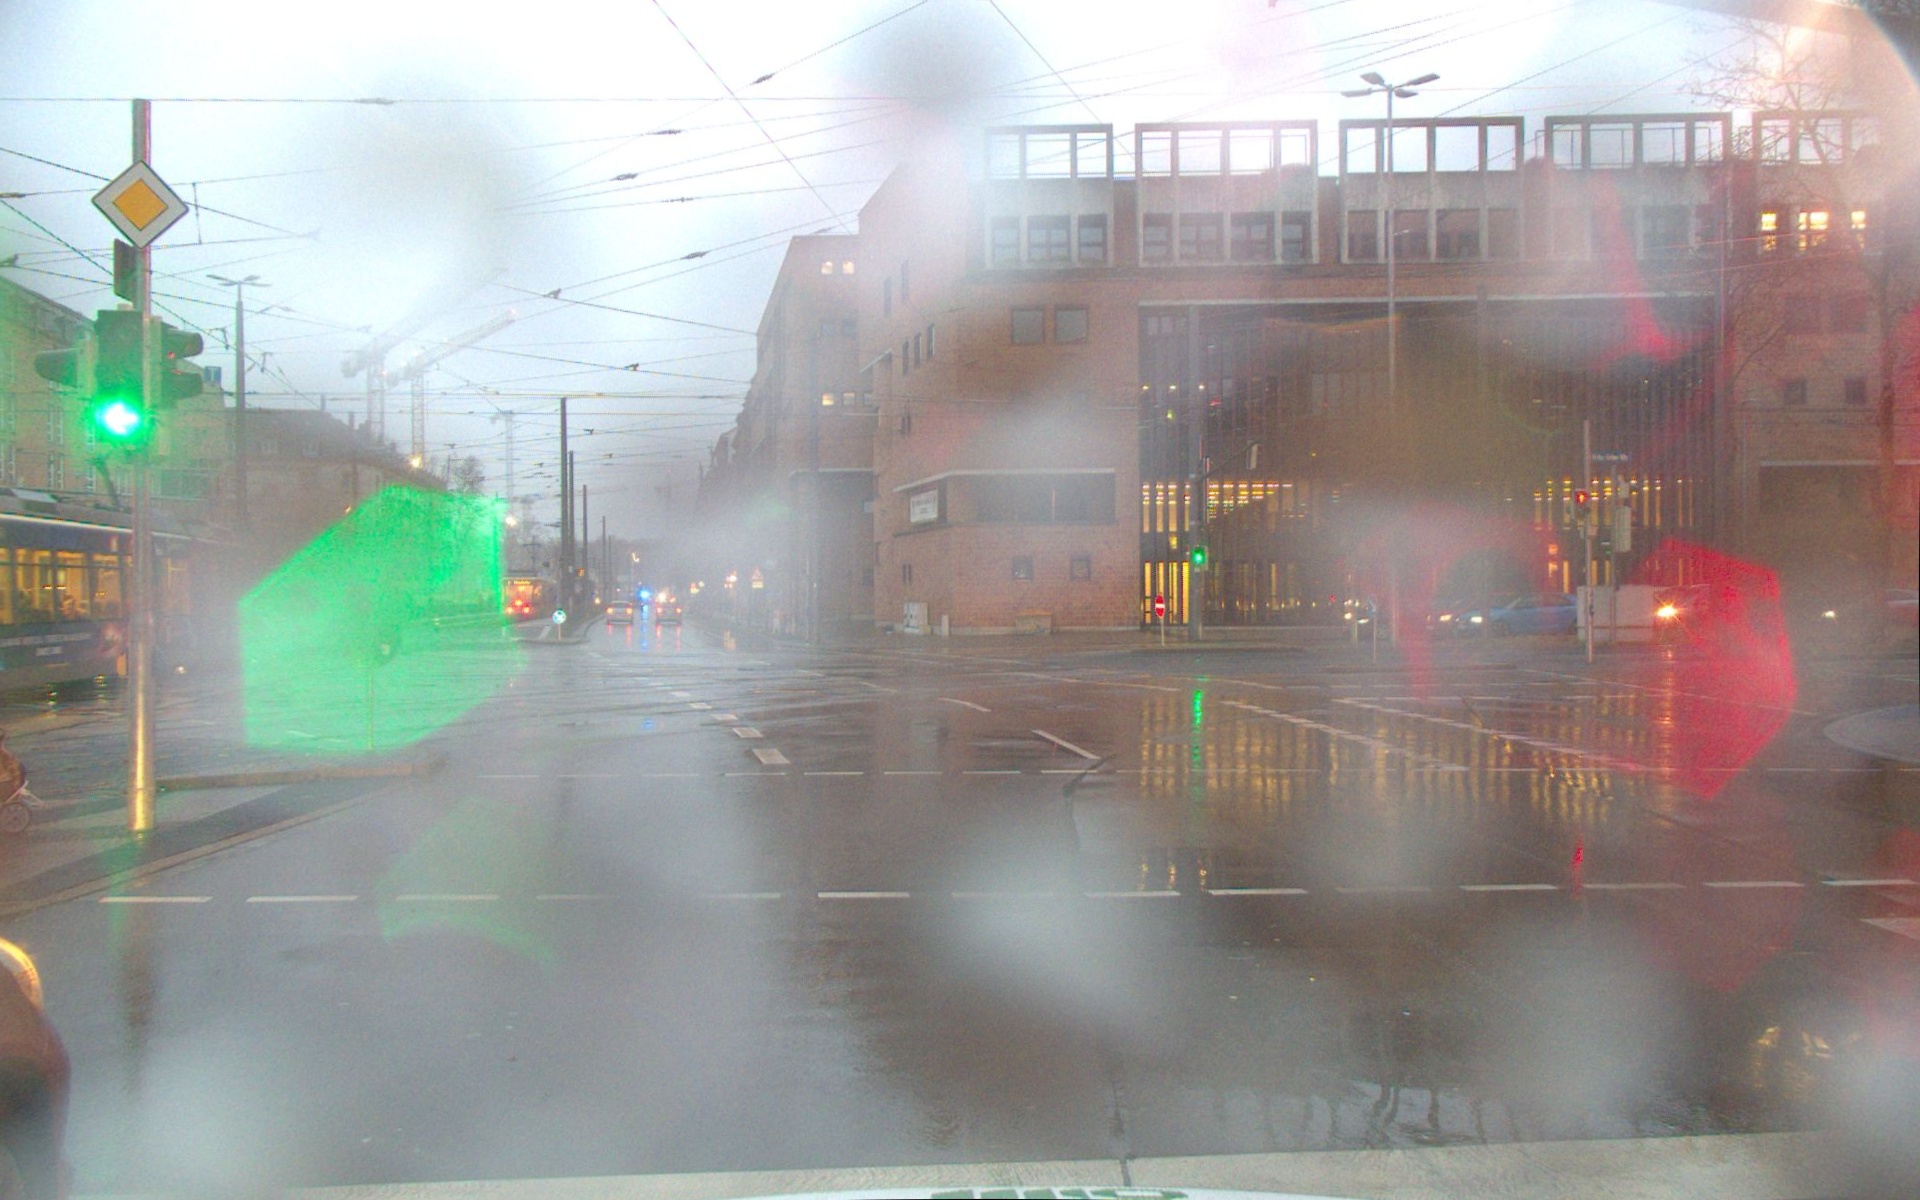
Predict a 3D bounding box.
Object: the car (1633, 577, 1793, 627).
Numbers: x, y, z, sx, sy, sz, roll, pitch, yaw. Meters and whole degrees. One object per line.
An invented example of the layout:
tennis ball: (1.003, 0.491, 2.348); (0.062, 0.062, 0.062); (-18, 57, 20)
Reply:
car: (22.348, 0.043, 49.164); (3.910, 1.310, 1.846); (-1, 4, -7)

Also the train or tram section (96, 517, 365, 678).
train or tram section: (-20.258, -0.073, 47.722); (2.813, 3.677, 19.161); (-1, 0, -11)

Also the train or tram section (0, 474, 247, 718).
train or tram section: (-16.929, -0.032, 30.281); (2.813, 3.677, 20.016); (-1, 0, -11)

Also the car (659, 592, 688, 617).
car: (-19.636, 0.309, 113.431); (1.836, 1.606, 3.992); (2, 0, -9)

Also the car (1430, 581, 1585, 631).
car: (15.977, 0.163, 48.358); (3.910, 1.284, 1.846); (-1, 4, -7)

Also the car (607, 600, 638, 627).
car: (-22.062, 0.862, 108.191); (1.837, 1.606, 3.990); (2, 0, -10)

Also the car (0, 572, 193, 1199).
car: (-2.556, 0.706, 1.835); (1.663, 1.485, 3.757); (-1, 0, 0)

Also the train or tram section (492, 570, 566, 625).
train or tram section: (-31.233, -0.163, 121.072); (3.133, 3.496, 27.760); (-1, 0, -10)

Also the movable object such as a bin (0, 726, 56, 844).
movable object such as a bin: (-6.117, 1.174, 10.503); (0.405, 0.711, 0.535); (-3, -2, 40)

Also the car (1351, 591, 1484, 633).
car: (15.536, 0.395, 56.265); (3.909, 1.333, 1.998); (-1, 0, -5)

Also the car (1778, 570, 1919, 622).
car: (29.331, -0.138, 54.438); (3.910, 1.530, 1.846); (-1, 4, -7)

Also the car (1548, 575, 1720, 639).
car: (18.230, 0.163, 44.814); (3.910, 1.530, 1.846); (-1, 4, -7)

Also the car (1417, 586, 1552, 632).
car: (16.602, 0.266, 52.454); (3.649, 1.284, 1.846); (-1, 4, -7)
